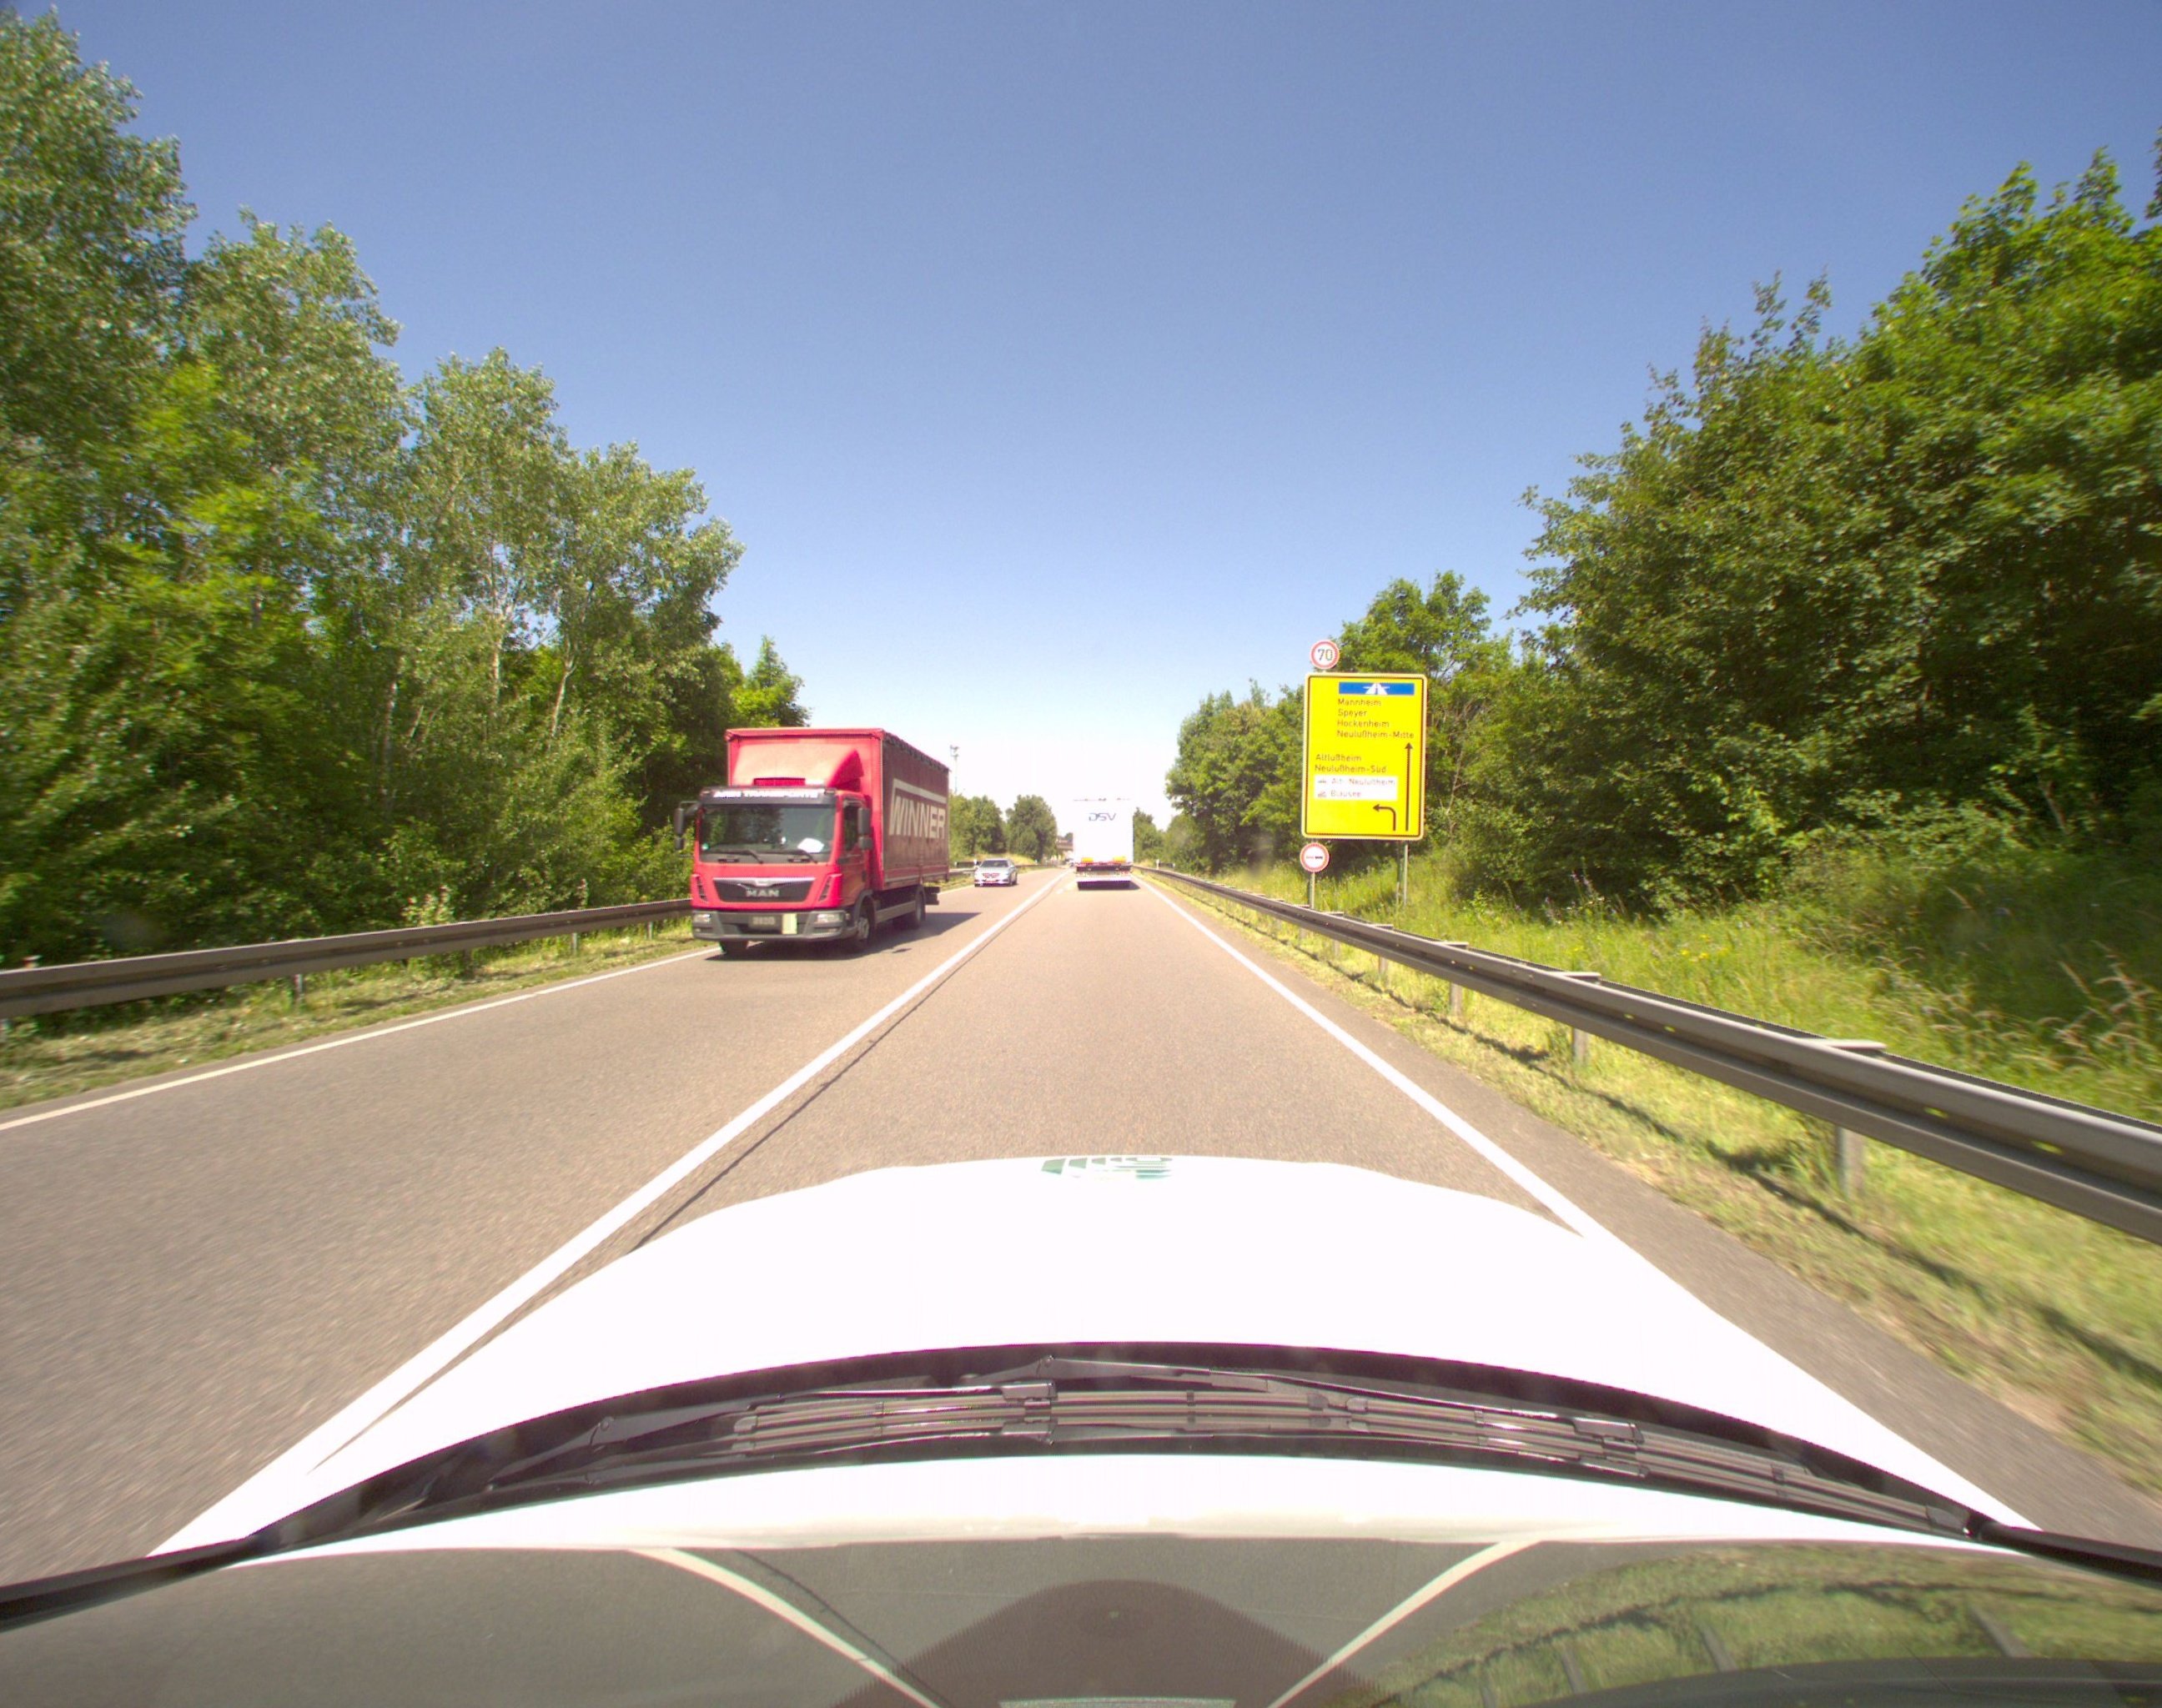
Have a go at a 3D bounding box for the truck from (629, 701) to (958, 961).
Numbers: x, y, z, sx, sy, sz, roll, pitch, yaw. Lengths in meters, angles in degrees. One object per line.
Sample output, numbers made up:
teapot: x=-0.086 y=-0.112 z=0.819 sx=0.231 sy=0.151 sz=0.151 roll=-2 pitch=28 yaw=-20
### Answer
truck: x=-4.772 y=-0.326 z=16.104 sx=3.180 sy=3.700 sz=9.007 roll=0 pitch=0 yaw=1

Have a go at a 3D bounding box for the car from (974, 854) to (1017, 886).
car: x=-4.393 y=0.811 z=42.518 sx=1.812 sy=1.546 sz=4.525 roll=0 pitch=0 yaw=-1

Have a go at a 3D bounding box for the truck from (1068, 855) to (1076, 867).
truck: x=-2.912 y=2.305 z=265.547 sx=2.345 sy=3.750 sz=12.624 roll=0 pitch=0 yaw=0

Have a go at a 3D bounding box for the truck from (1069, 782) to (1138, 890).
truck: x=1.116 y=-0.762 z=39.794 sx=2.939 sy=4.568 sz=9.866 roll=0 pitch=0 yaw=2
